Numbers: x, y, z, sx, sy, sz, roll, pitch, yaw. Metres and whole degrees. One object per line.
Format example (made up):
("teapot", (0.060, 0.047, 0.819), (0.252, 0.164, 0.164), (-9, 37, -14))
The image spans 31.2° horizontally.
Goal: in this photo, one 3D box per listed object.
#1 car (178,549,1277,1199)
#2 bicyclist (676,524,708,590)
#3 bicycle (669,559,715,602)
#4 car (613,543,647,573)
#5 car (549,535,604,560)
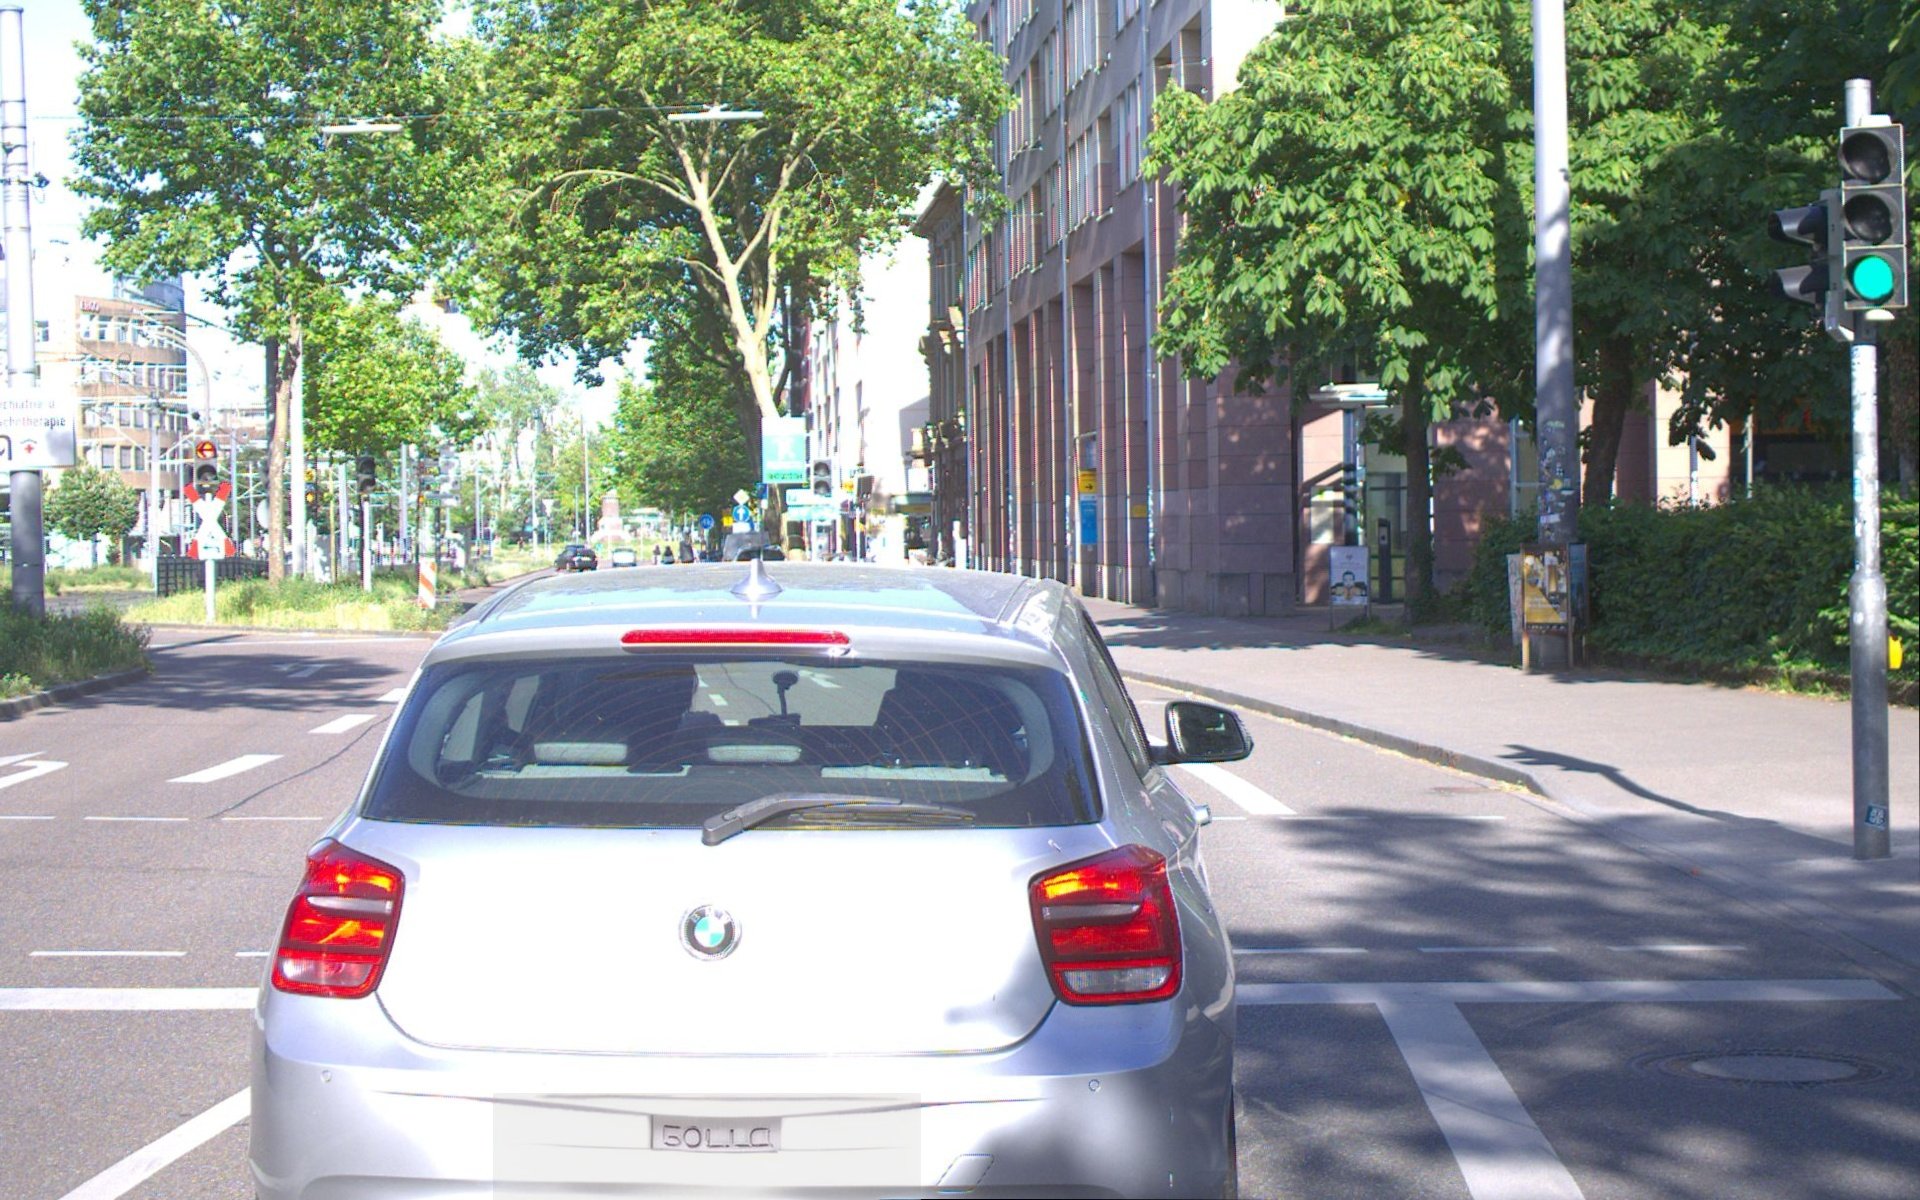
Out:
("car", (-0.288, 0.629, 7.341), (1.730, 1.385, 3.840), (1, 2, 3))
("bicyclist", (-6.724, -1.084, 86.360), (0.658, 1.651, 0.765), (-1, 1, 4))
("bicycle", (-6.721, -0.499, 86.349), (0.831, 1.038, 1.874), (-1, 1, 5))
("car", (-23.632, -3.002, 246.180), (1.993, 2.007, 4.000), (1, 0, 0))
("car", (-23.517, -3.224, 210.724), (1.993, 1.481, 4.001), (-1, 1, -27))
